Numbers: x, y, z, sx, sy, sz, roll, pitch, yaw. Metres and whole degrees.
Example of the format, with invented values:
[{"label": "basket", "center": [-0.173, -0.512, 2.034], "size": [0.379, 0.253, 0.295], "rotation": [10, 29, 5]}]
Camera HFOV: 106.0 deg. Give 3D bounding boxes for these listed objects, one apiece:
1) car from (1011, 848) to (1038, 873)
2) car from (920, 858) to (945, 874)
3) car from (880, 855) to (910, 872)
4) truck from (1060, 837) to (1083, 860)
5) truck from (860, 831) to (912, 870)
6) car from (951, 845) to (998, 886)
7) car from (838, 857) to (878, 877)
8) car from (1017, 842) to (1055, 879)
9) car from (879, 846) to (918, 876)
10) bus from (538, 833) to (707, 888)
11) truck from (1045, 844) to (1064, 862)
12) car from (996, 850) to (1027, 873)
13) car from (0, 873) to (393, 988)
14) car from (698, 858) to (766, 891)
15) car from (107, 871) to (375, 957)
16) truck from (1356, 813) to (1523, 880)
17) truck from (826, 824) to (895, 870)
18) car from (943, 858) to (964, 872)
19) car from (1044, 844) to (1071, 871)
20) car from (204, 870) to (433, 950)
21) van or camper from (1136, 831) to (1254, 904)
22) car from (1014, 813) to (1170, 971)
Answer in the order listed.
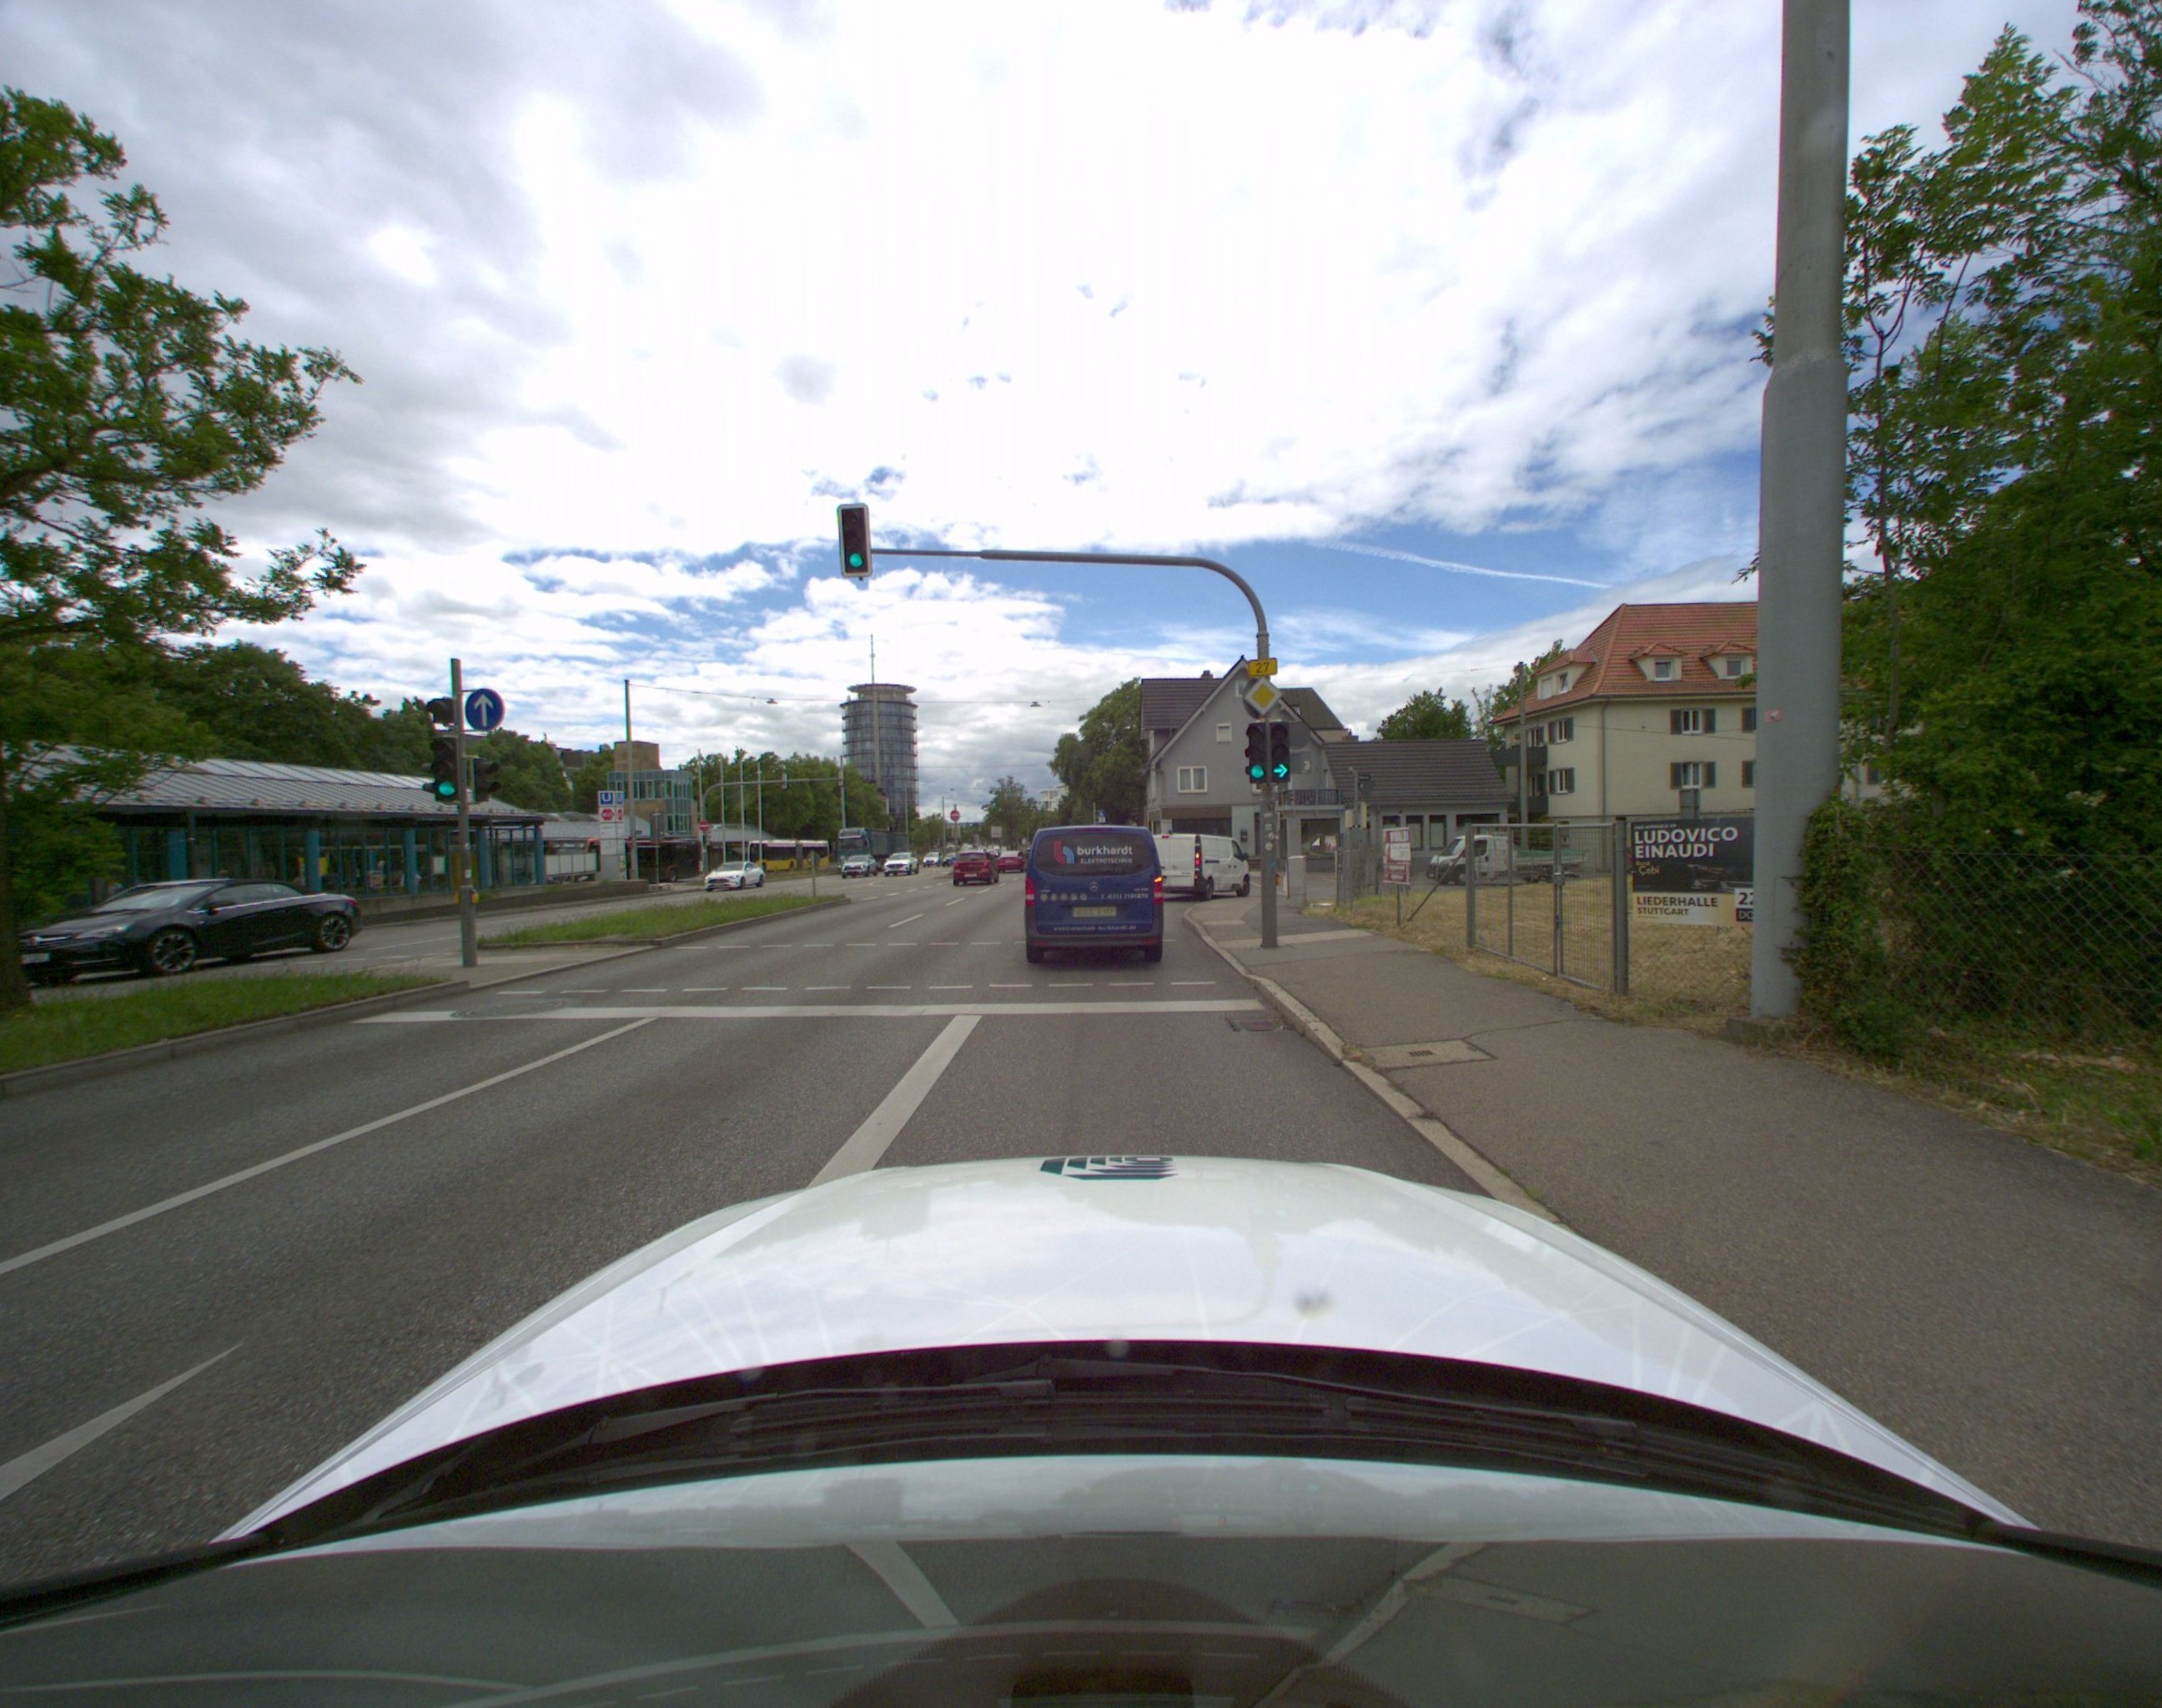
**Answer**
[{"label": "car", "center": [-4.824, 0.518, 68.895], "size": [1.992, 2.013, 3.990], "rotation": [0, 1, -8]}, {"label": "car", "center": [-16.318, 1.336, 89.768], "size": [1.988, 1.574, 3.998], "rotation": [-2, 0, -1]}, {"label": "car", "center": [-16.533, 0.830, 72.486], "size": [1.792, 1.417, 3.998], "rotation": [-2, 0, -1]}, {"label": "truck", "center": [-0.900, -0.548, 78.800], "size": [1.986, 2.165, 5.561], "rotation": [0, 0, 1]}, {"label": "truck", "center": [-19.916, -0.336, 83.861], "size": [3.358, 3.727, 8.024], "rotation": [-2, 0, -1]}, {"label": "car", "center": [-4.777, 0.479, 37.032], "size": [1.742, 1.723, 3.996], "rotation": [-2, 0, -3]}, {"label": "car", "center": [-16.074, 0.922, 58.949], "size": [1.825, 1.262, 3.997], "rotation": [-2, 0, -2]}, {"label": "car", "center": [-2.257, 0.292, 41.474], "size": [1.742, 1.723, 3.997], "rotation": [-2, 0, -2]}, {"label": "car", "center": [-13.065, 0.488, 58.548], "size": [1.989, 2.013, 4.174], "rotation": [-2, 0, -3]}, {"label": "bus", "center": [-29.015, 0.369, 52.624], "size": [2.942, 3.133, 12.180], "rotation": [-1, 0, 6]}, {"label": "truck", "center": [-3.233, -0.086, 100.733], "size": [1.986, 2.165, 5.561], "rotation": [0, 0, 1]}, {"label": "car", "center": [-4.705, 0.521, 54.348], "size": [1.867, 1.486, 3.989], "rotation": [-1, -1, -7]}, {"label": "car", "center": [-14.628, 1.125, 13.784], "size": [1.809, 1.398, 5.006], "rotation": [-3, 0, -3]}, {"label": "car", "center": [-18.311, 1.019, 42.906], "size": [1.728, 1.574, 4.503], "rotation": [-2, 0, -2]}, {"label": "car", "center": [-17.760, 1.186, 17.552], "size": [1.744, 1.517, 3.995], "rotation": [0, 0, -3]}, {"label": "truck", "center": [15.381, -0.323, 35.172], "size": [6.364, 2.701, 2.000], "rotation": [1, 0, 0]}, {"label": "truck", "center": [-19.676, -0.586, 73.532], "size": [3.359, 3.727, 11.273], "rotation": [-1, 0, -2]}, {"label": "car", "center": [-13.141, 1.133, 84.028], "size": [1.992, 1.332, 4.433], "rotation": [-2, 0, -8]}, {"label": "car", "center": [-1.607, 0.232, 56.527], "size": [1.741, 1.723, 3.998], "rotation": [-2, 0, -1]}, {"label": "car", "center": [-18.177, 1.253, 19.701], "size": [1.617, 1.574, 4.002], "rotation": [-2, 0, 2]}, {"label": "van or camper", "center": [3.693, 0.292, 25.488], "size": [1.975, 2.013, 5.128], "rotation": [1, 2, 28]}, {"label": "car", "center": [0.196, 0.474, 12.516], "size": [1.941, 1.965, 4.543], "rotation": [-1, 0, 1]}]
